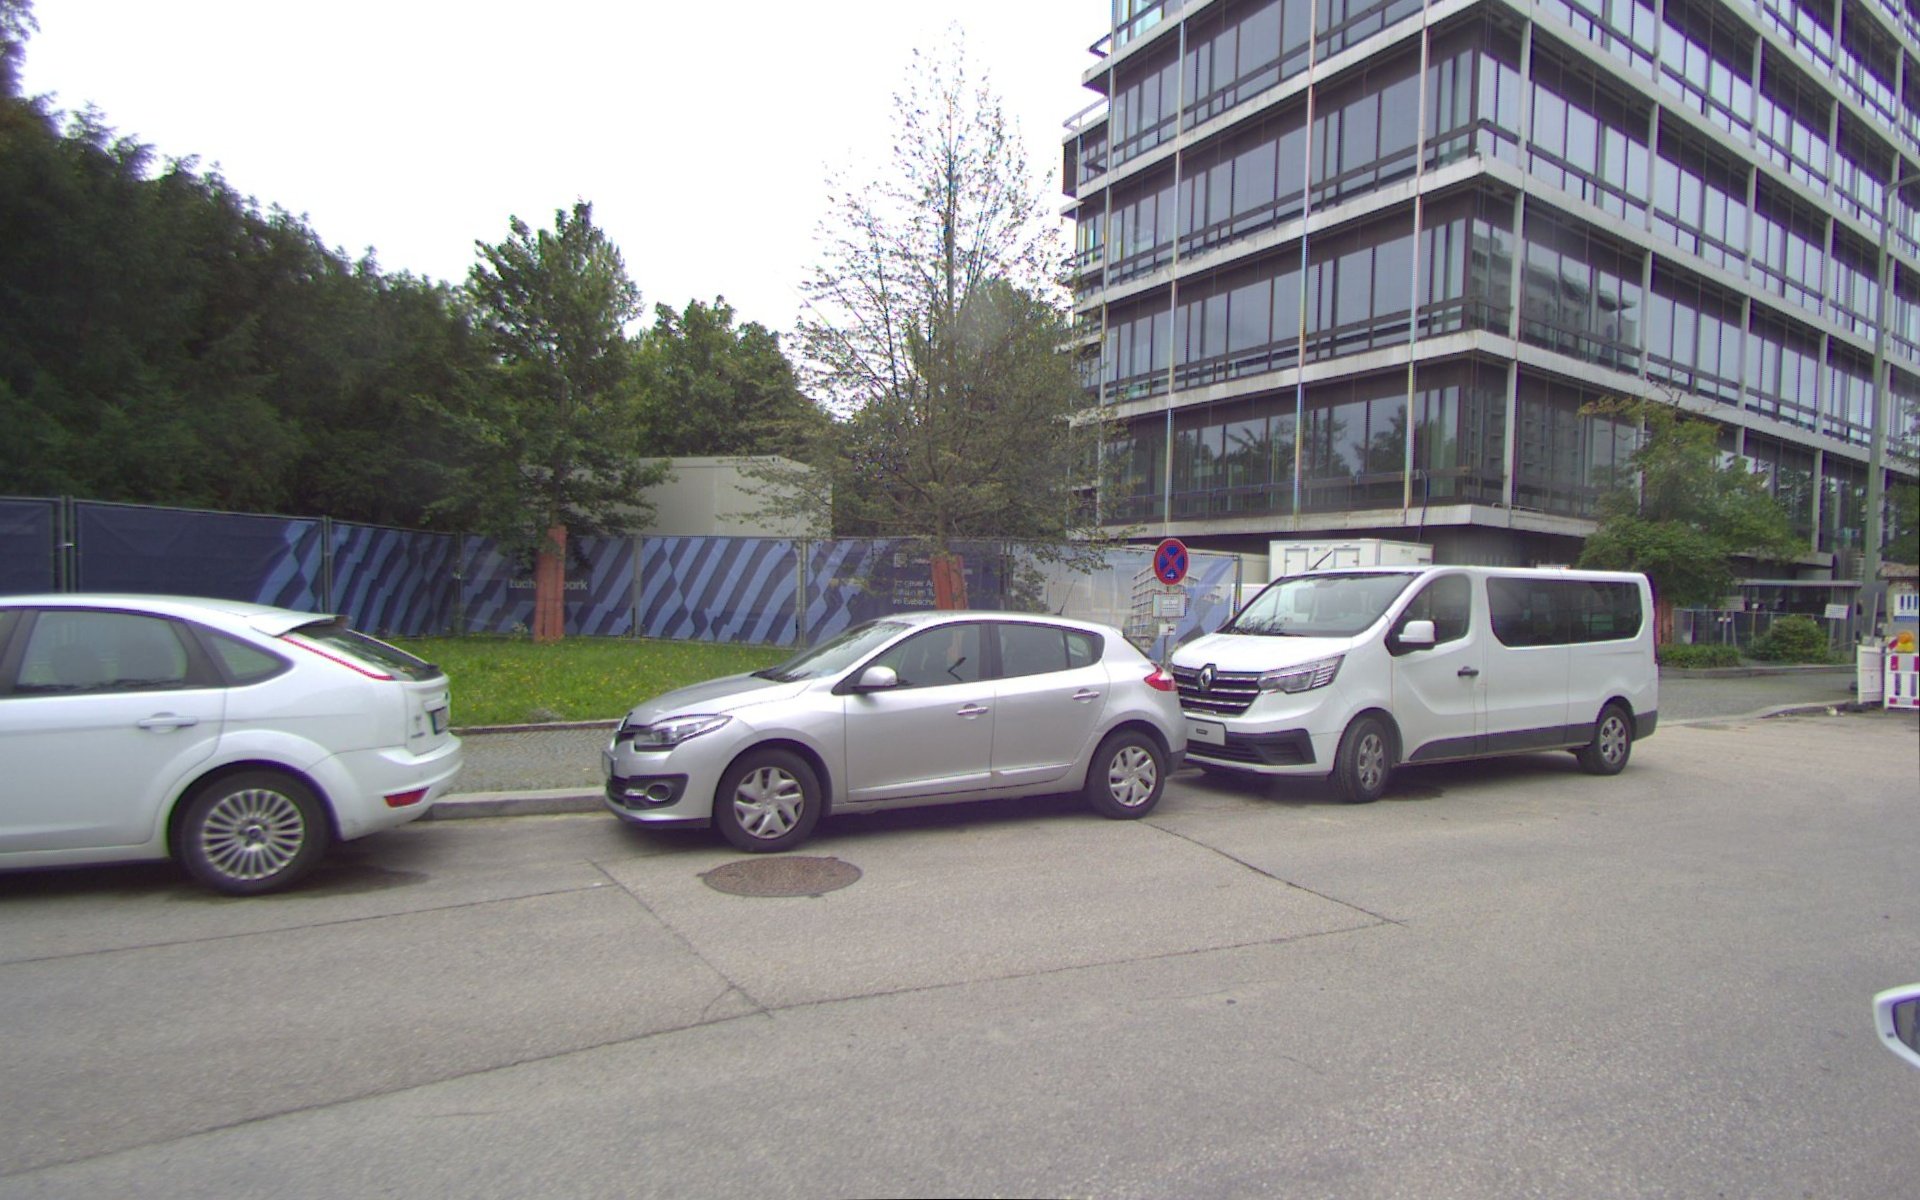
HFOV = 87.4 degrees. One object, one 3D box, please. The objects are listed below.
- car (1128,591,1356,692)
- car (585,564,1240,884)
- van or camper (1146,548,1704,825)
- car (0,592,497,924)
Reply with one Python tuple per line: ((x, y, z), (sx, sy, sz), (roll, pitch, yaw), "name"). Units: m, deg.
((5.966, 0.820, 21.855), (1.977, 1.947, 4.737), (1, -1, -31), "car")
((-0.329, 0.698, 7.370), (4.391, 1.751, 1.987), (1, 0, -26), "car")
((4.506, 0.659, 9.525), (5.308, 2.040, 1.986), (1, 0, -28), "van or camper")
((-4.846, 0.722, 5.351), (4.157, 1.506, 1.764), (1, 0, -20), "car")
